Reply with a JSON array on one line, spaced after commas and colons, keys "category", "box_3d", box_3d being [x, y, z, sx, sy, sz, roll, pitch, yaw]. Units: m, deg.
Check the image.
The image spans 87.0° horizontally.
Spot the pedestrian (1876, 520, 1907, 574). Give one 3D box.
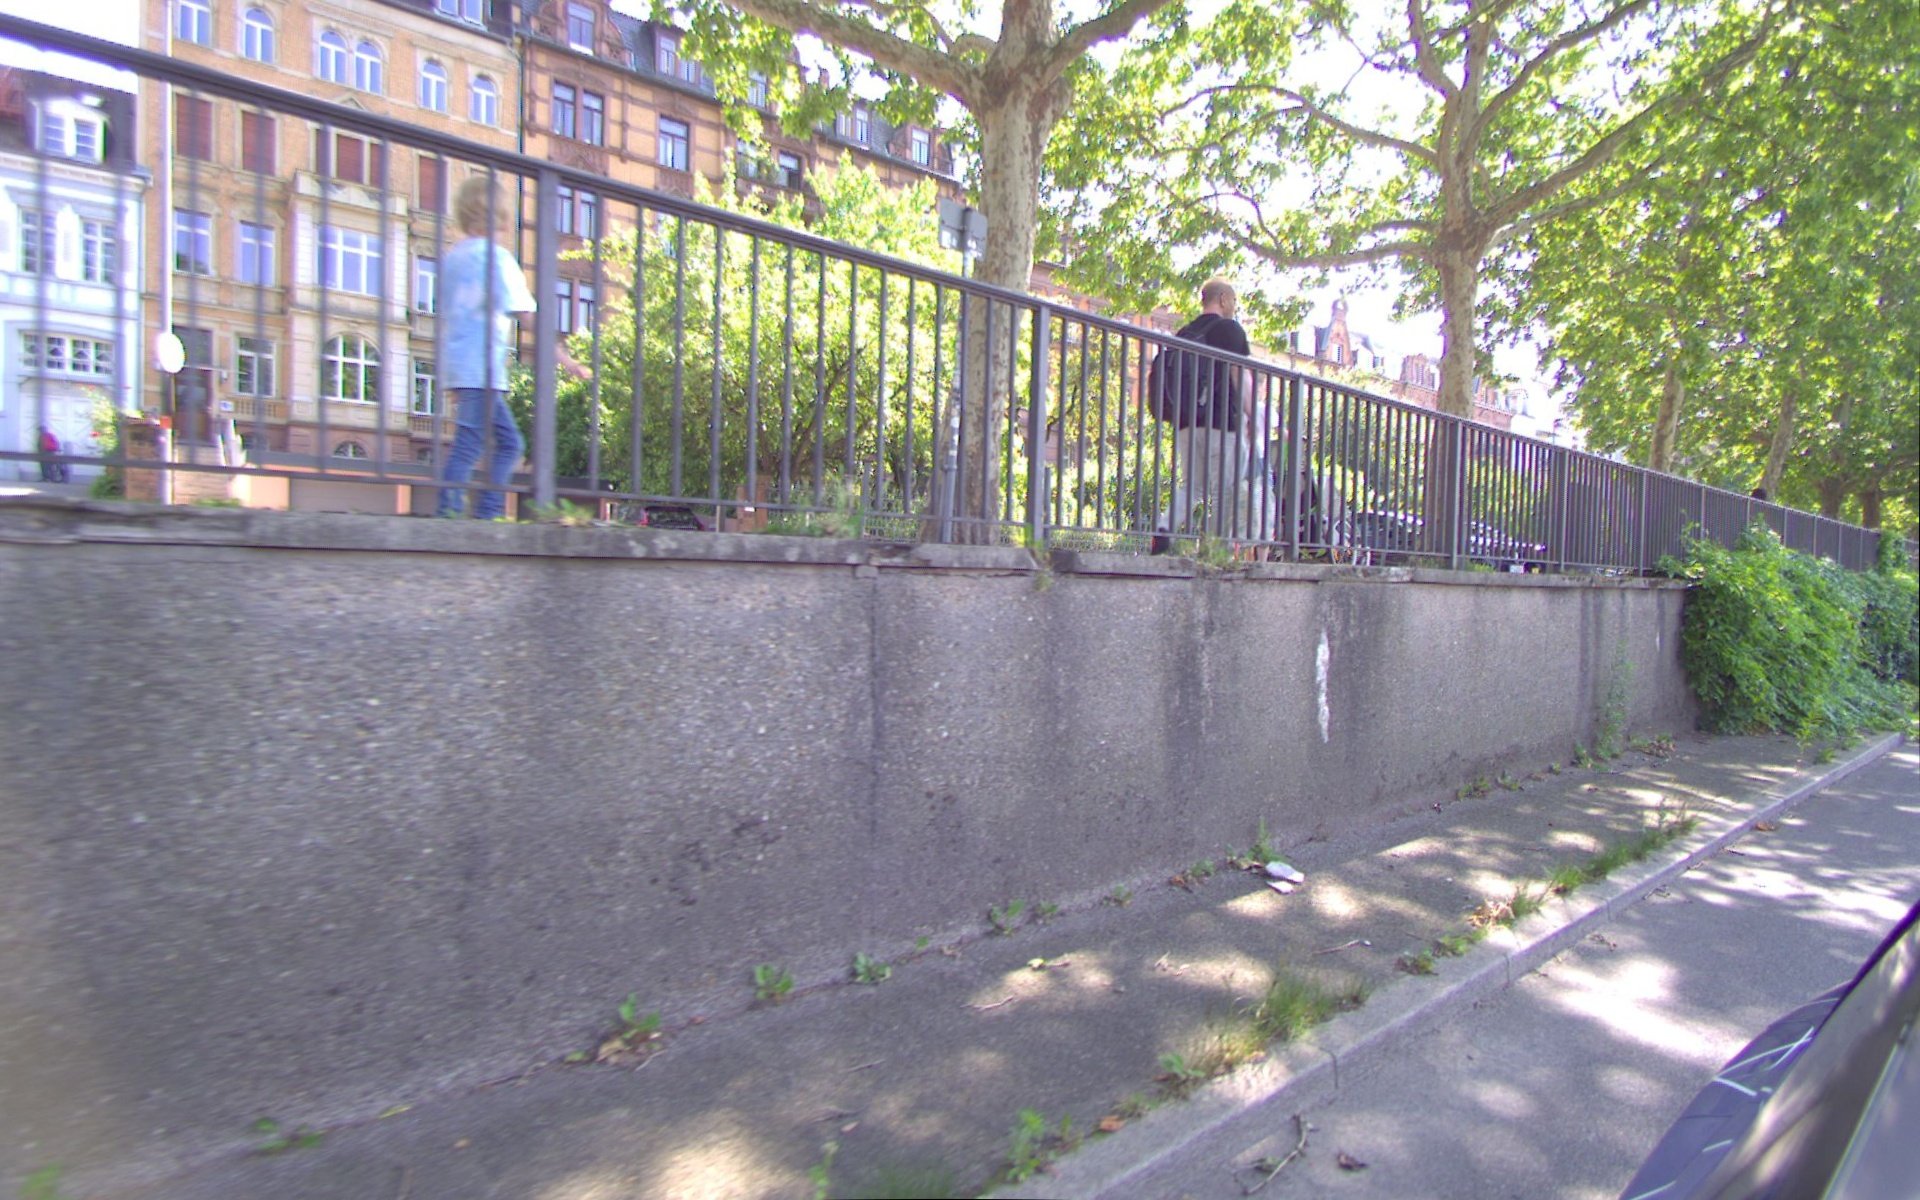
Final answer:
[{"category": "pedestrian", "box_3d": [28.929, -1.636, 31.435, 0.646, 1.660, 0.617, 2, 2, 42]}]

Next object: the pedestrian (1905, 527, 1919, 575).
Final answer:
[{"category": "pedestrian", "box_3d": [29.603, -1.507, 31.229, 0.584, 1.437, 0.580, 2, 2, 42]}]

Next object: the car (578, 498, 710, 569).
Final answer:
[{"category": "car", "box_3d": [-7.807, -1.570, 24.808, 1.759, 1.556, 3.793, 1, 1, -40]}]

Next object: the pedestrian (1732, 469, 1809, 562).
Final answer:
[{"category": "pedestrian", "box_3d": [12.776, -1.324, 15.952, 0.800, 1.382, 0.754, 0, 4, -42]}]

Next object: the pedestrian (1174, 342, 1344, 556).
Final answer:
[{"category": "pedestrian", "box_3d": [2.157, -1.039, 7.292, 0.972, 1.382, 0.682, 0, 4, -41]}]

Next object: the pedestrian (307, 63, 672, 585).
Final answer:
[{"category": "pedestrian", "box_3d": [-1.582, -0.797, 3.408, 0.933, 1.442, 0.682, 0, 4, -41]}]

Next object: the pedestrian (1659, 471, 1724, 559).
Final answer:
[{"category": "pedestrian", "box_3d": [12.090, -1.399, 16.727, 0.781, 1.382, 0.645, 0, 4, -42]}]

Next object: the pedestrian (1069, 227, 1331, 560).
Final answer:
[{"category": "pedestrian", "box_3d": [1.339, -1.060, 5.663, 1.010, 1.598, 0.938, 0, 4, -42]}]

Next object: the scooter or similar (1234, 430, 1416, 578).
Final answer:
[{"category": "scooter or similar", "box_3d": [2.849, -0.728, 7.896, 1.088, 1.038, 0.857, 0, 4, -41]}]

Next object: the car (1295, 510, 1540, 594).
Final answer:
[{"category": "car", "box_3d": [7.648, -0.868, 17.221, 1.484, 1.250, 3.541, 1, 4, -30]}]
